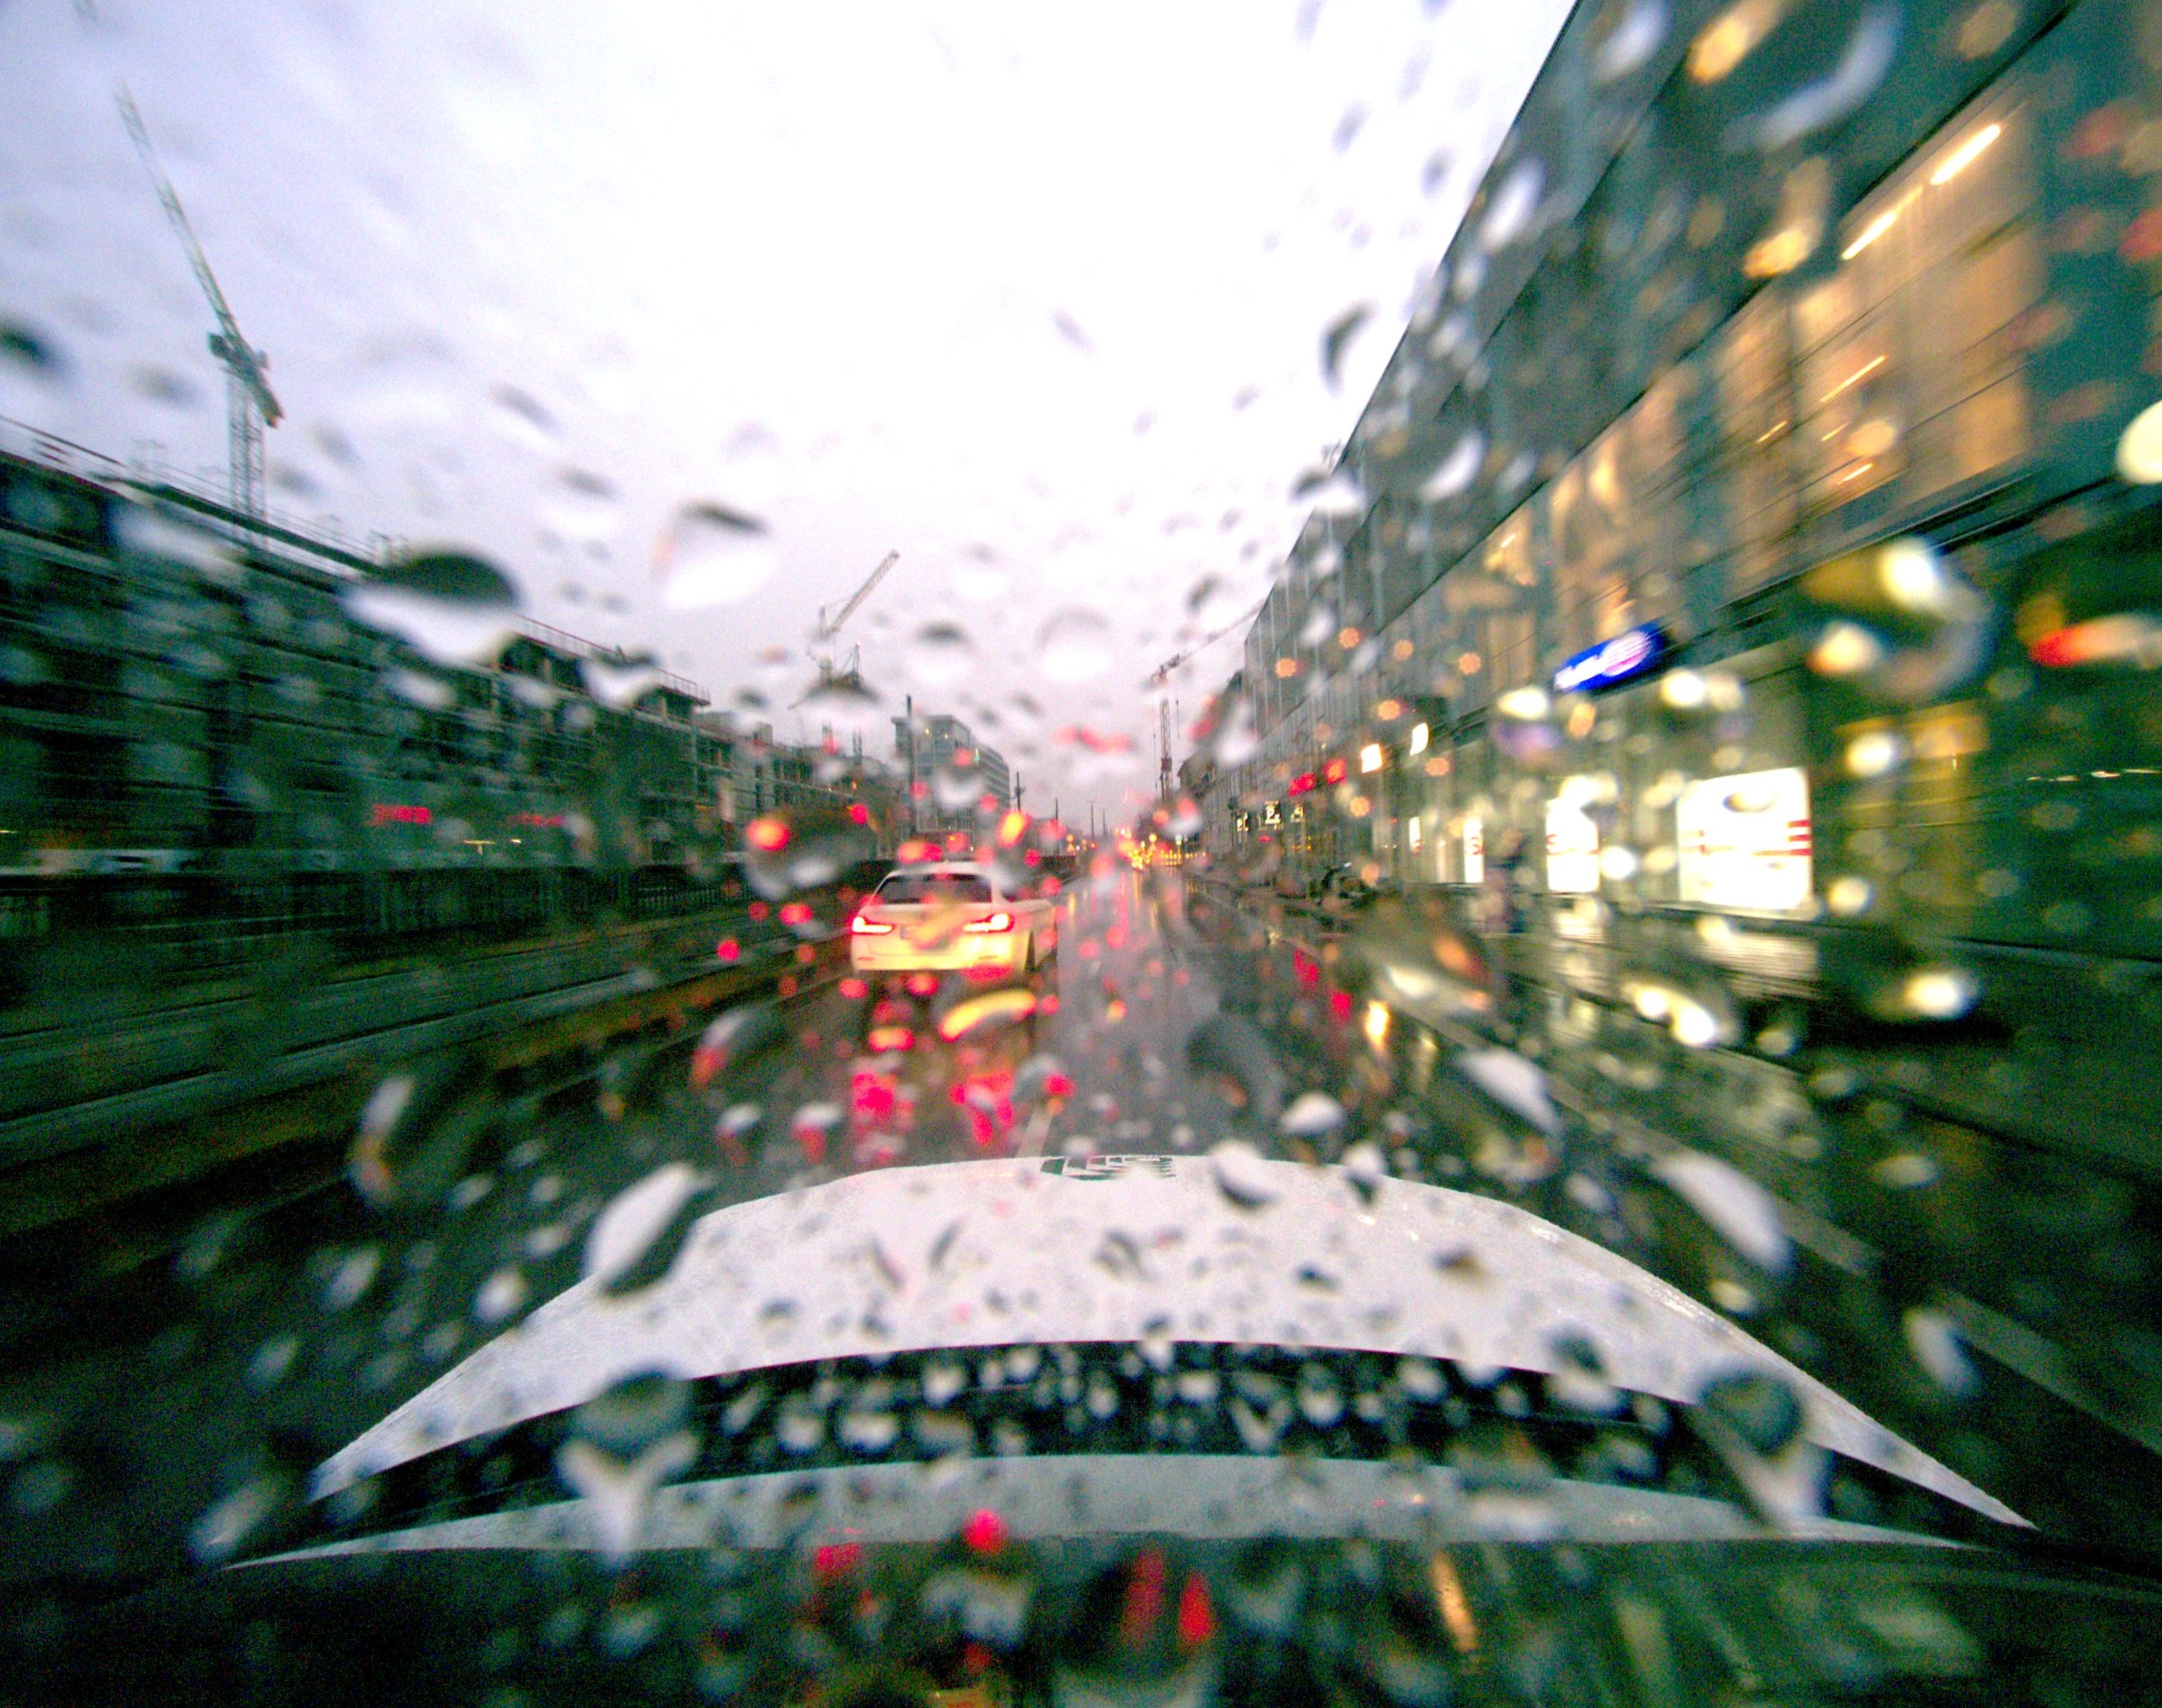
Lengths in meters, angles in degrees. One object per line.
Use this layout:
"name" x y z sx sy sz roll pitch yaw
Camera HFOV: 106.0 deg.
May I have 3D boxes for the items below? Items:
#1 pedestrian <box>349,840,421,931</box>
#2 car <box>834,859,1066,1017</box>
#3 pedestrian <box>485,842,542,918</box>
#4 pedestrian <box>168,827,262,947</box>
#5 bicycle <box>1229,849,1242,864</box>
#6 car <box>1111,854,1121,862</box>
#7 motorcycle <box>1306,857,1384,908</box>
"pedestrian" -12.212 0.538 14.306 0.580 1.550 0.743 -1 0 14
"car" -1.311 0.821 10.296 1.844 1.465 4.951 -1 0 3
"pedestrian" -11.844 0.535 17.011 0.580 1.550 0.743 -1 0 14
"pedestrian" -12.739 0.469 11.990 0.580 1.701 0.743 -1 0 14
"bicycle" 13.073 0.211 68.966 0.680 1.222 1.906 -5 -1 2
"car" 6.881 0.777 158.489 1.893 1.642 4.004 -1 0 4
"motorcycle" 7.142 0.783 22.093 1.885 1.333 0.599 -3 -2 43
